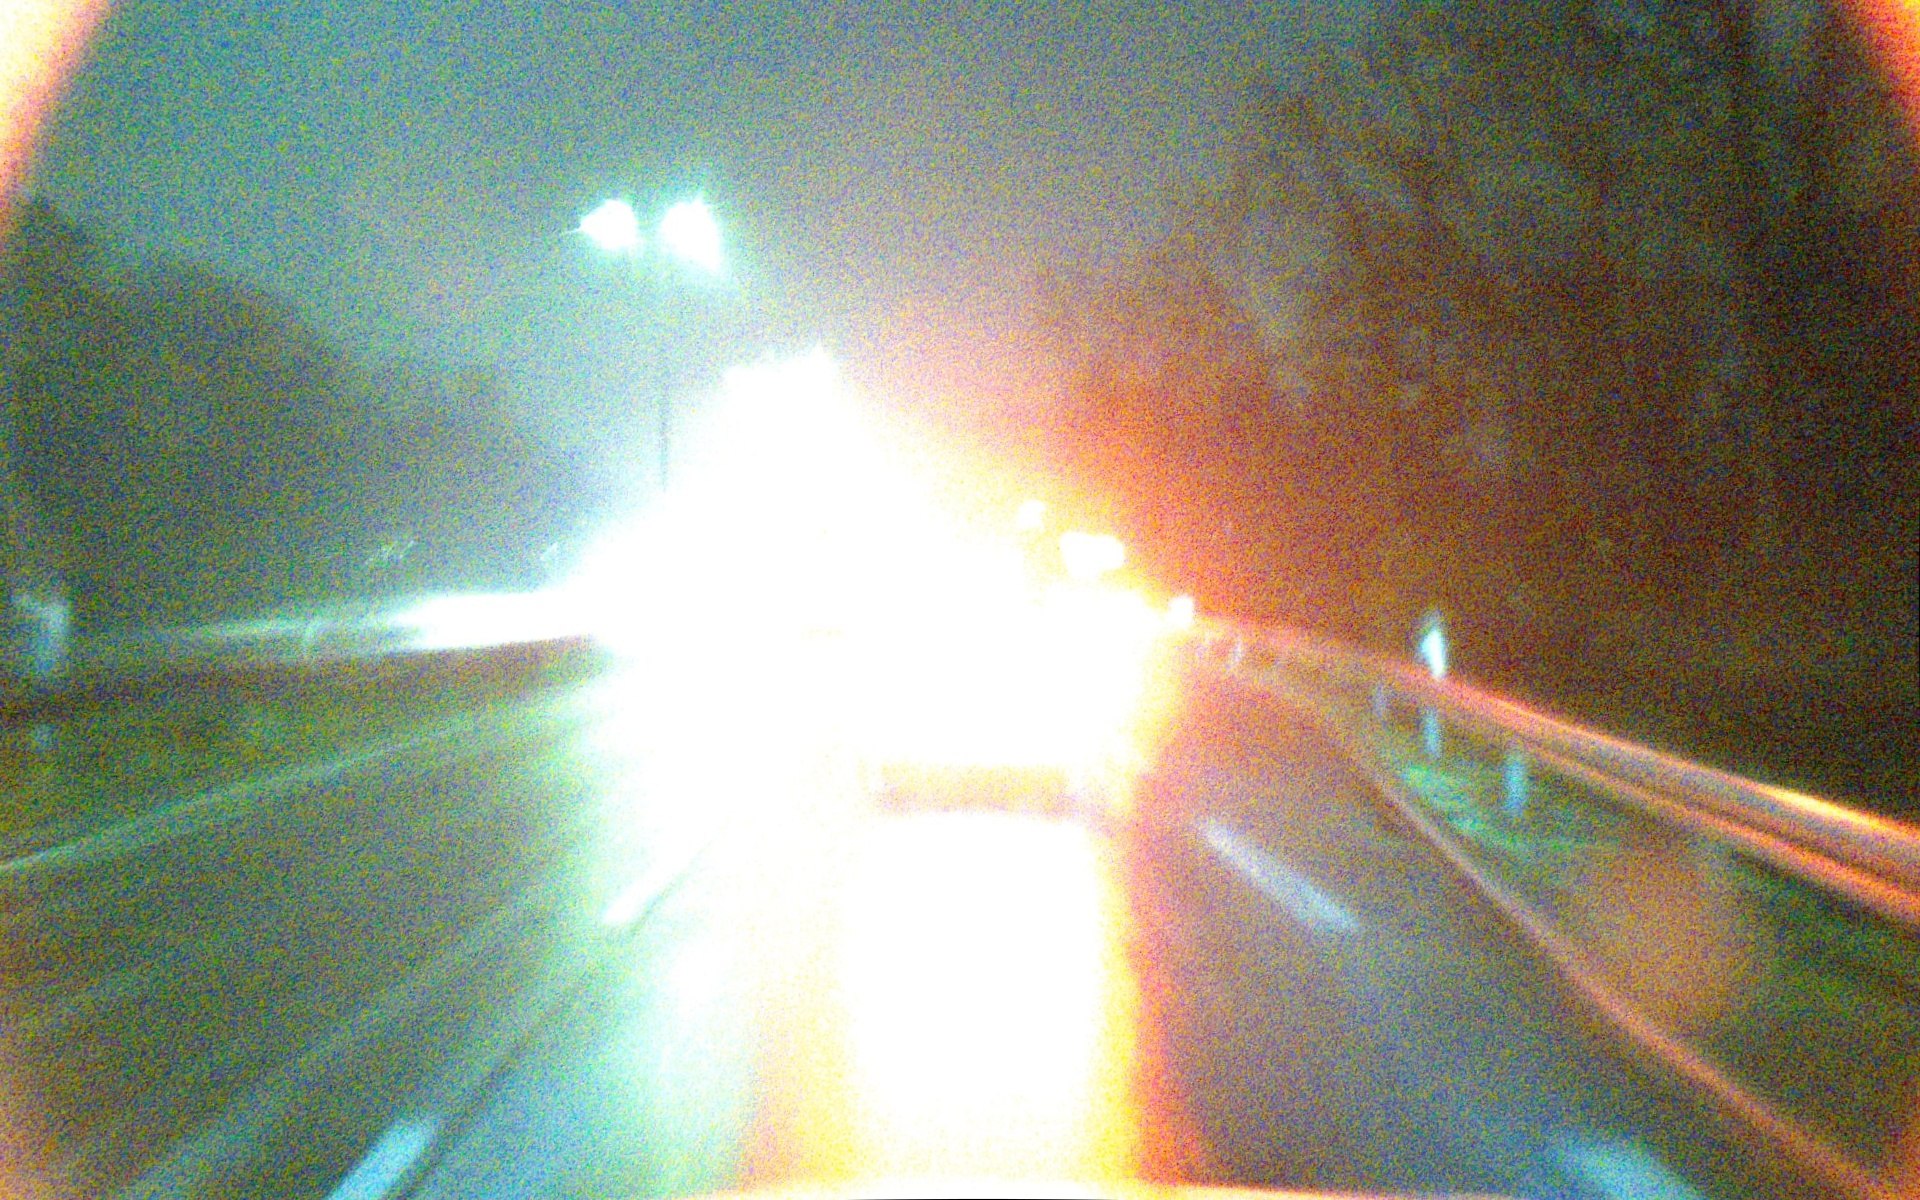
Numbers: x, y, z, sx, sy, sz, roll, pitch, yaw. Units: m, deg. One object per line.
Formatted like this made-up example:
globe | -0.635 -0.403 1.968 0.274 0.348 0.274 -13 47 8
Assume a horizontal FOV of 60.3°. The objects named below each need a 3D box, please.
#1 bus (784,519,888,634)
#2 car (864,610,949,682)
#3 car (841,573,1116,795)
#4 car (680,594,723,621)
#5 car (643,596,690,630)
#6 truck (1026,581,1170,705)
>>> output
bus | -3.745 -0.726 51.828 2.688 3.178 9.199 2 1 -2
car | -1.152 0.977 36.848 1.785 1.487 3.715 1 0 -1
car | 0.248 0.580 13.384 1.903 1.517 3.718 1 0 4
car | -15.952 0.476 102.363 1.982 1.528 4.895 2 -1 -1
car | -14.231 0.654 80.377 1.567 1.579 3.833 2 -1 -1
truck | 3.229 0.980 39.125 3.005 2.573 7.169 2 -1 4
